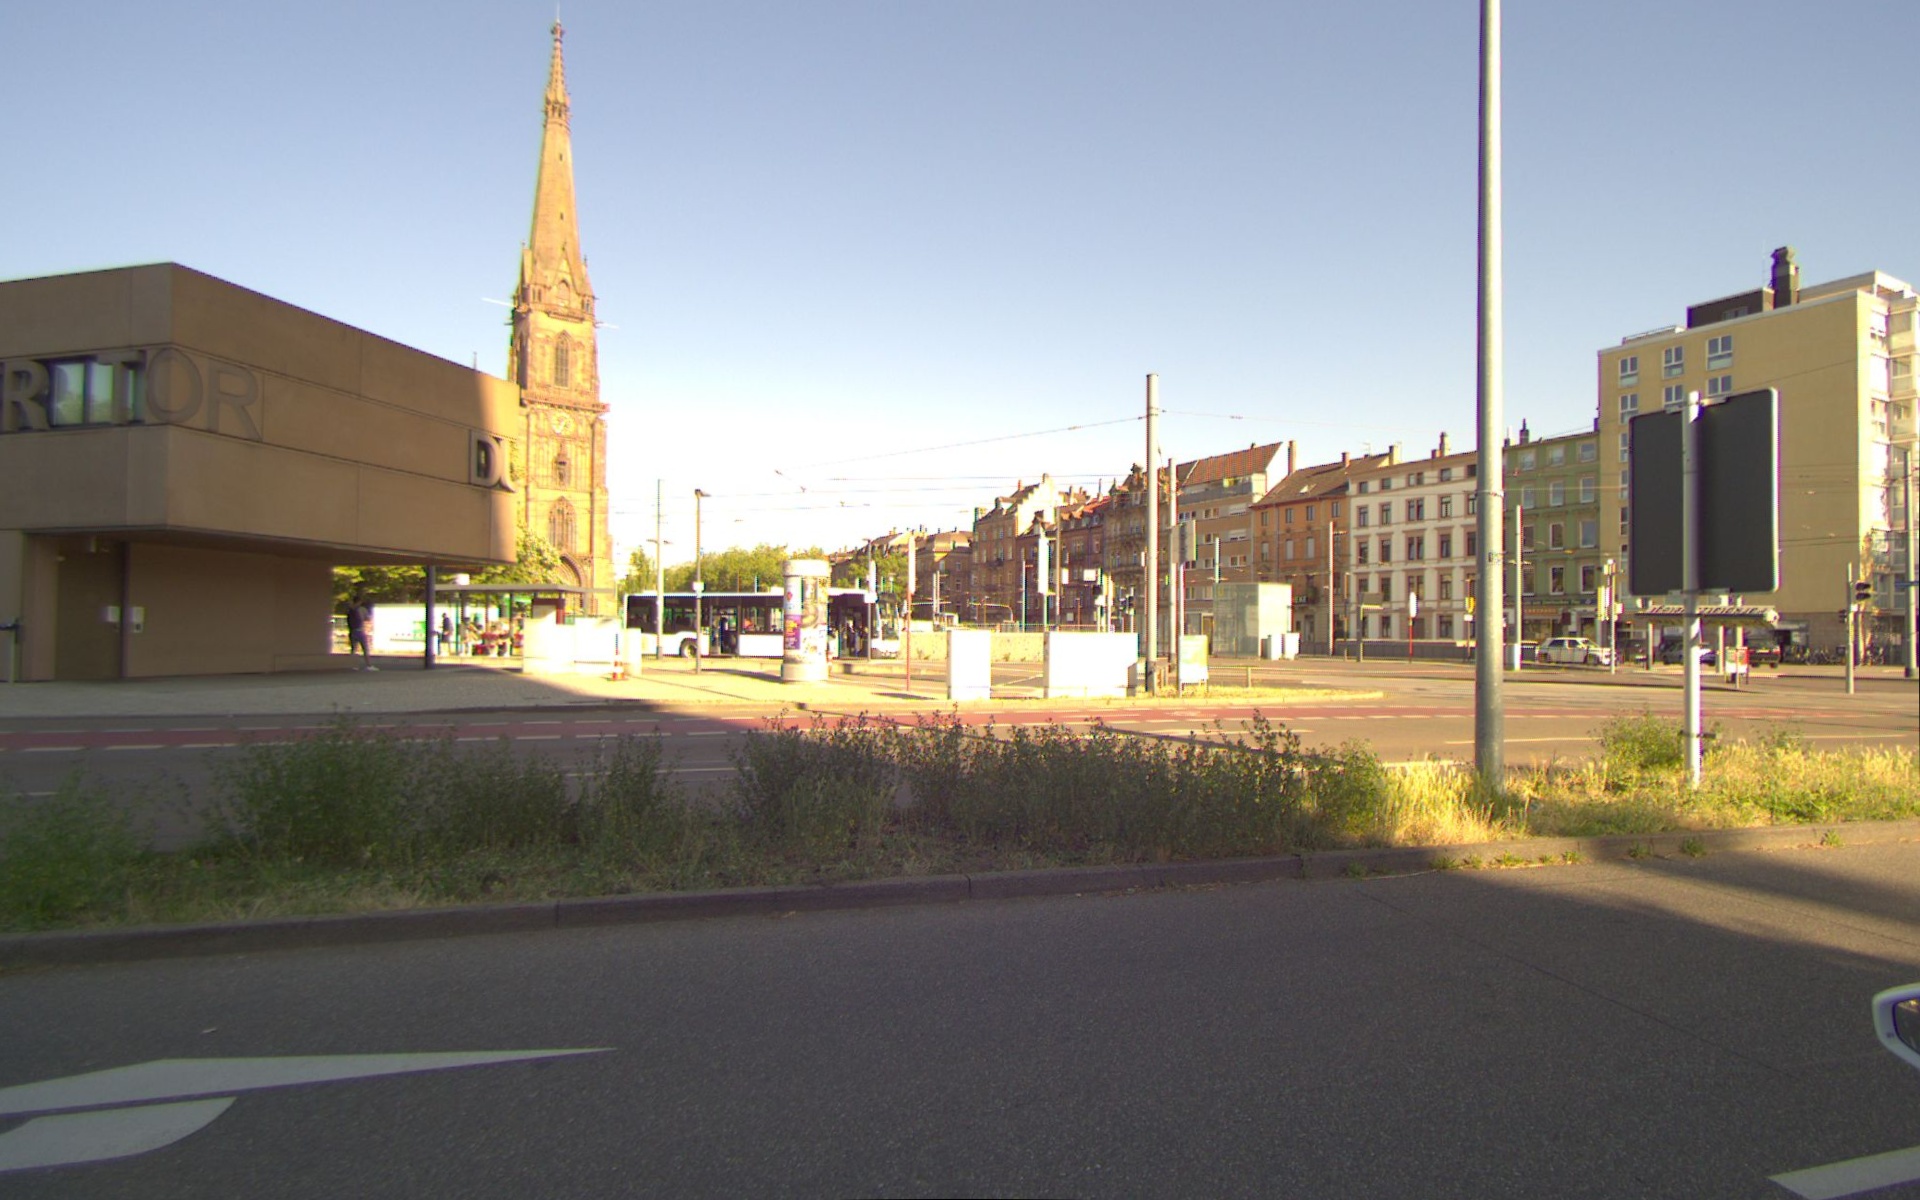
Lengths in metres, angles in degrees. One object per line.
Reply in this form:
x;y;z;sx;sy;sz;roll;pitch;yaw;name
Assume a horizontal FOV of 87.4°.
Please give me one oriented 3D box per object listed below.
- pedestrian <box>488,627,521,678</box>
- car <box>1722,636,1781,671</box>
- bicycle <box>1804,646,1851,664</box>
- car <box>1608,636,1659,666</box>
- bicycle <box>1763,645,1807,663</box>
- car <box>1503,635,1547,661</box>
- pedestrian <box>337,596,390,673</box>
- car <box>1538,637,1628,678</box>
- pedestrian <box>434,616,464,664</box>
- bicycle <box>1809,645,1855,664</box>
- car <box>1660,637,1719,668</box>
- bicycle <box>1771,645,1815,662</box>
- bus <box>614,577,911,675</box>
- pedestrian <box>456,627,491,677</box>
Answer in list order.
-18.222;2.092;40.190;0.704;2.007;0.981;-1;-2;17;pedestrian
46.654;3.134;59.280;1.818;1.882;3.996;-1;-1;25;car
53.857;3.394;62.375;0.768;1.104;2.033;2;-2;-29;bicycle
43.322;3.268;64.732;1.803;1.742;4.000;-1;-1;20;car
52.798;3.431;64.273;0.768;1.104;2.033;2;-2;-29;bicycle
40.107;3.389;71.413;2.046;1.742;4.010;-1;-1;20;car
-15.822;0.916;26.664;0.704;2.007;0.981;-1;-2;15;pedestrian
34.069;3.094;55.001;1.976;2.040;3.717;-1;-1;-29;car
-21.767;1.699;42.821;0.740;2.007;0.817;-1;-2;17;pedestrian
54.558;3.388;62.840;0.768;1.104;2.033;2;-2;-29;bicycle
44.841;3.198;61.836;1.803;1.771;4.001;-1;-1;18;car
53.578;3.433;64.650;0.768;1.104;2.033;2;-2;-29;bicycle
-8.333;1.099;42.451;11.942;3.359;3.254;2;-4;16;bus
-19.800;2.124;40.909;0.812;2.007;0.997;-1;-2;17;pedestrian
